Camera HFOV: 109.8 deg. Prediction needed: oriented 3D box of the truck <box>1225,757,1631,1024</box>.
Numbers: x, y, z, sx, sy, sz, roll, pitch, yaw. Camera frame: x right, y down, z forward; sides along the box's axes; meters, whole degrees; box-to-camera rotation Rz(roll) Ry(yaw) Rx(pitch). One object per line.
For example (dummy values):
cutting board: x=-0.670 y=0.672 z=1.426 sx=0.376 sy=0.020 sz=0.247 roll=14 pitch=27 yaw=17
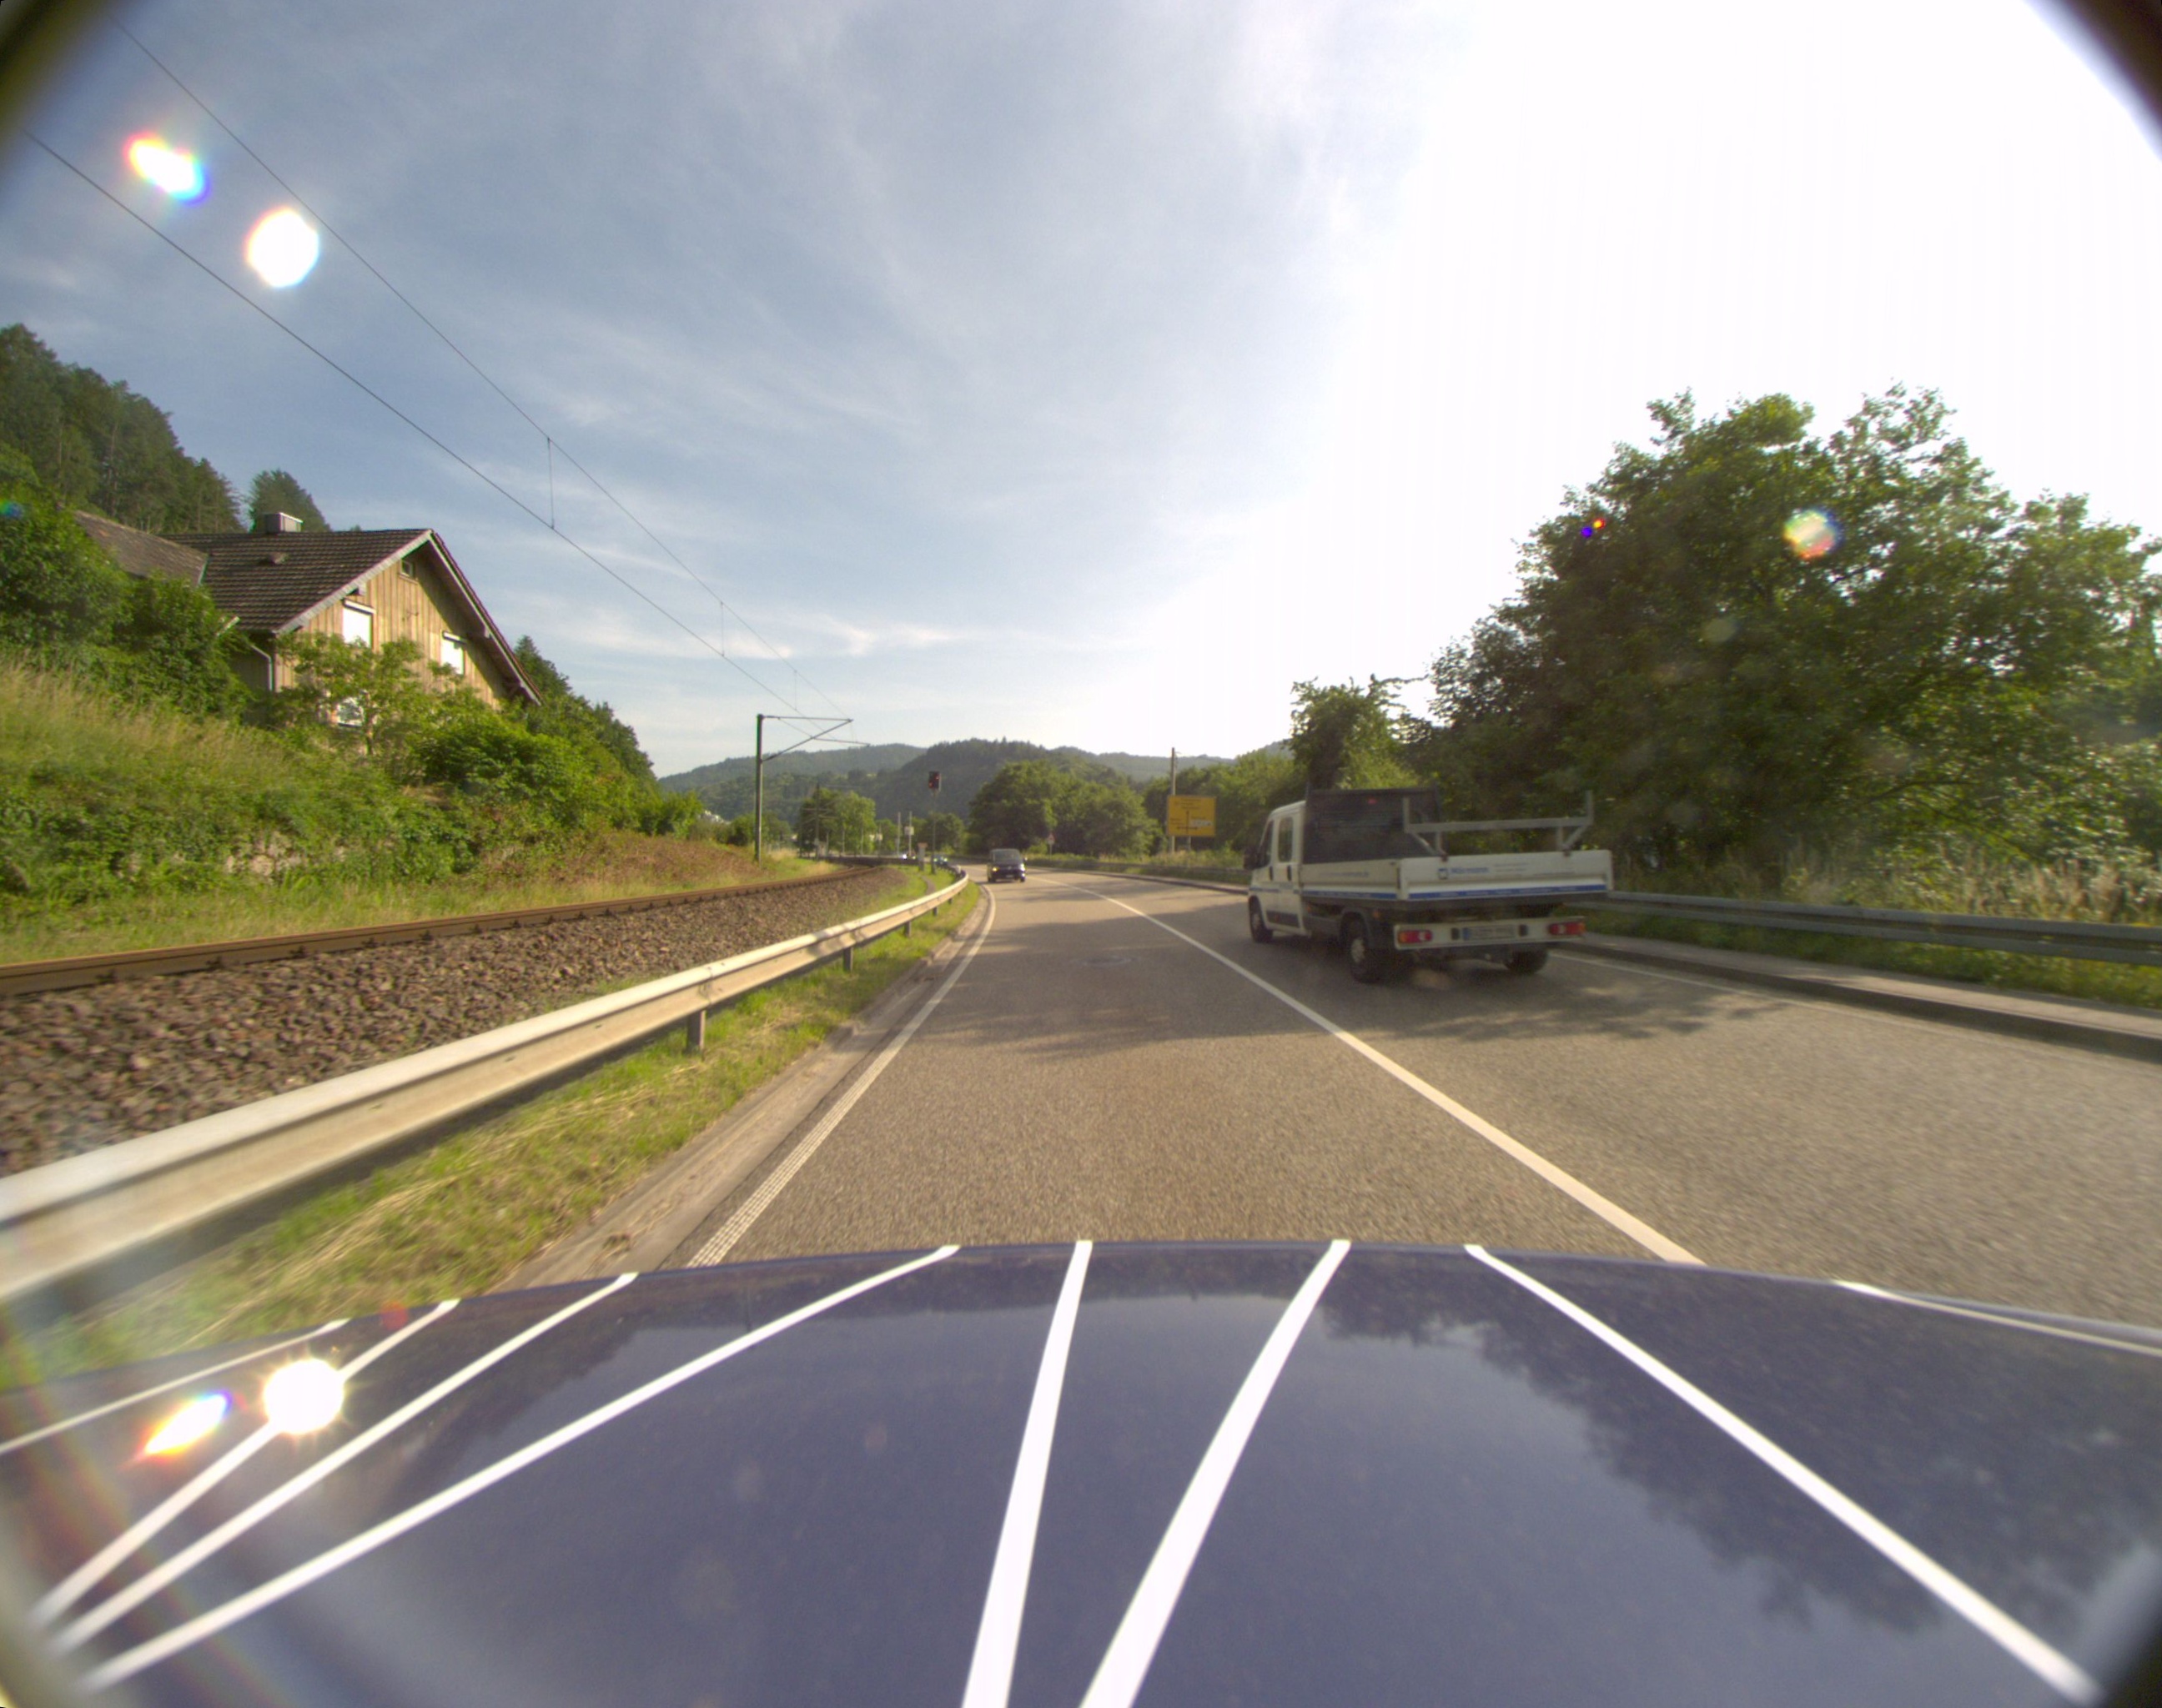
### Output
truck: x=3.834 y=0.316 z=10.331 sx=2.163 sy=2.352 sz=6.744 roll=-2 pitch=0 yaw=-2

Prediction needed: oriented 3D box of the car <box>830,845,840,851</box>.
car: x=-70.841 y=-1.790 z=218.692 sx=1.889 sy=1.735 sz=4.169 roll=-1 pitch=0 yaw=-27

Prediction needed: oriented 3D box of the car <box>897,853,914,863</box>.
car: x=-31.958 y=0.789 z=138.063 sx=1.889 sy=1.735 sz=4.169 roll=-2 pitch=0 yaw=-30

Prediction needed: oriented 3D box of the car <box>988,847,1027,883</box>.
car: x=-4.365 y=0.589 z=44.576 sx=2.020 sy=1.905 sz=4.308 roll=-2 pitch=1 yaw=-9

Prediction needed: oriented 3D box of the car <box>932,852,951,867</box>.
car: x=-17.644 y=0.710 z=95.987 sx=1.888 sy=1.735 sz=4.172 roll=-2 pitch=0 yaw=-17

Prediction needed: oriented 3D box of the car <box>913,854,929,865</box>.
car: x=-25.806 y=0.858 z=122.326 sx=1.888 sy=1.735 sz=4.171 roll=-2 pitch=0 yaw=-20

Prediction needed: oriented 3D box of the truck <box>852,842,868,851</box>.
truck: x=-58.569 y=-1.909 z=201.298 sx=4.706 sy=2.272 sz=1.890 roll=-1 pitch=0 yaw=42

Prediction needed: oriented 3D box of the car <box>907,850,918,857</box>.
car: x=-35.233 y=-0.197 z=158.921 sx=1.640 sy=1.341 sz=4.100 roll=-2 pitch=2 yaw=-23
